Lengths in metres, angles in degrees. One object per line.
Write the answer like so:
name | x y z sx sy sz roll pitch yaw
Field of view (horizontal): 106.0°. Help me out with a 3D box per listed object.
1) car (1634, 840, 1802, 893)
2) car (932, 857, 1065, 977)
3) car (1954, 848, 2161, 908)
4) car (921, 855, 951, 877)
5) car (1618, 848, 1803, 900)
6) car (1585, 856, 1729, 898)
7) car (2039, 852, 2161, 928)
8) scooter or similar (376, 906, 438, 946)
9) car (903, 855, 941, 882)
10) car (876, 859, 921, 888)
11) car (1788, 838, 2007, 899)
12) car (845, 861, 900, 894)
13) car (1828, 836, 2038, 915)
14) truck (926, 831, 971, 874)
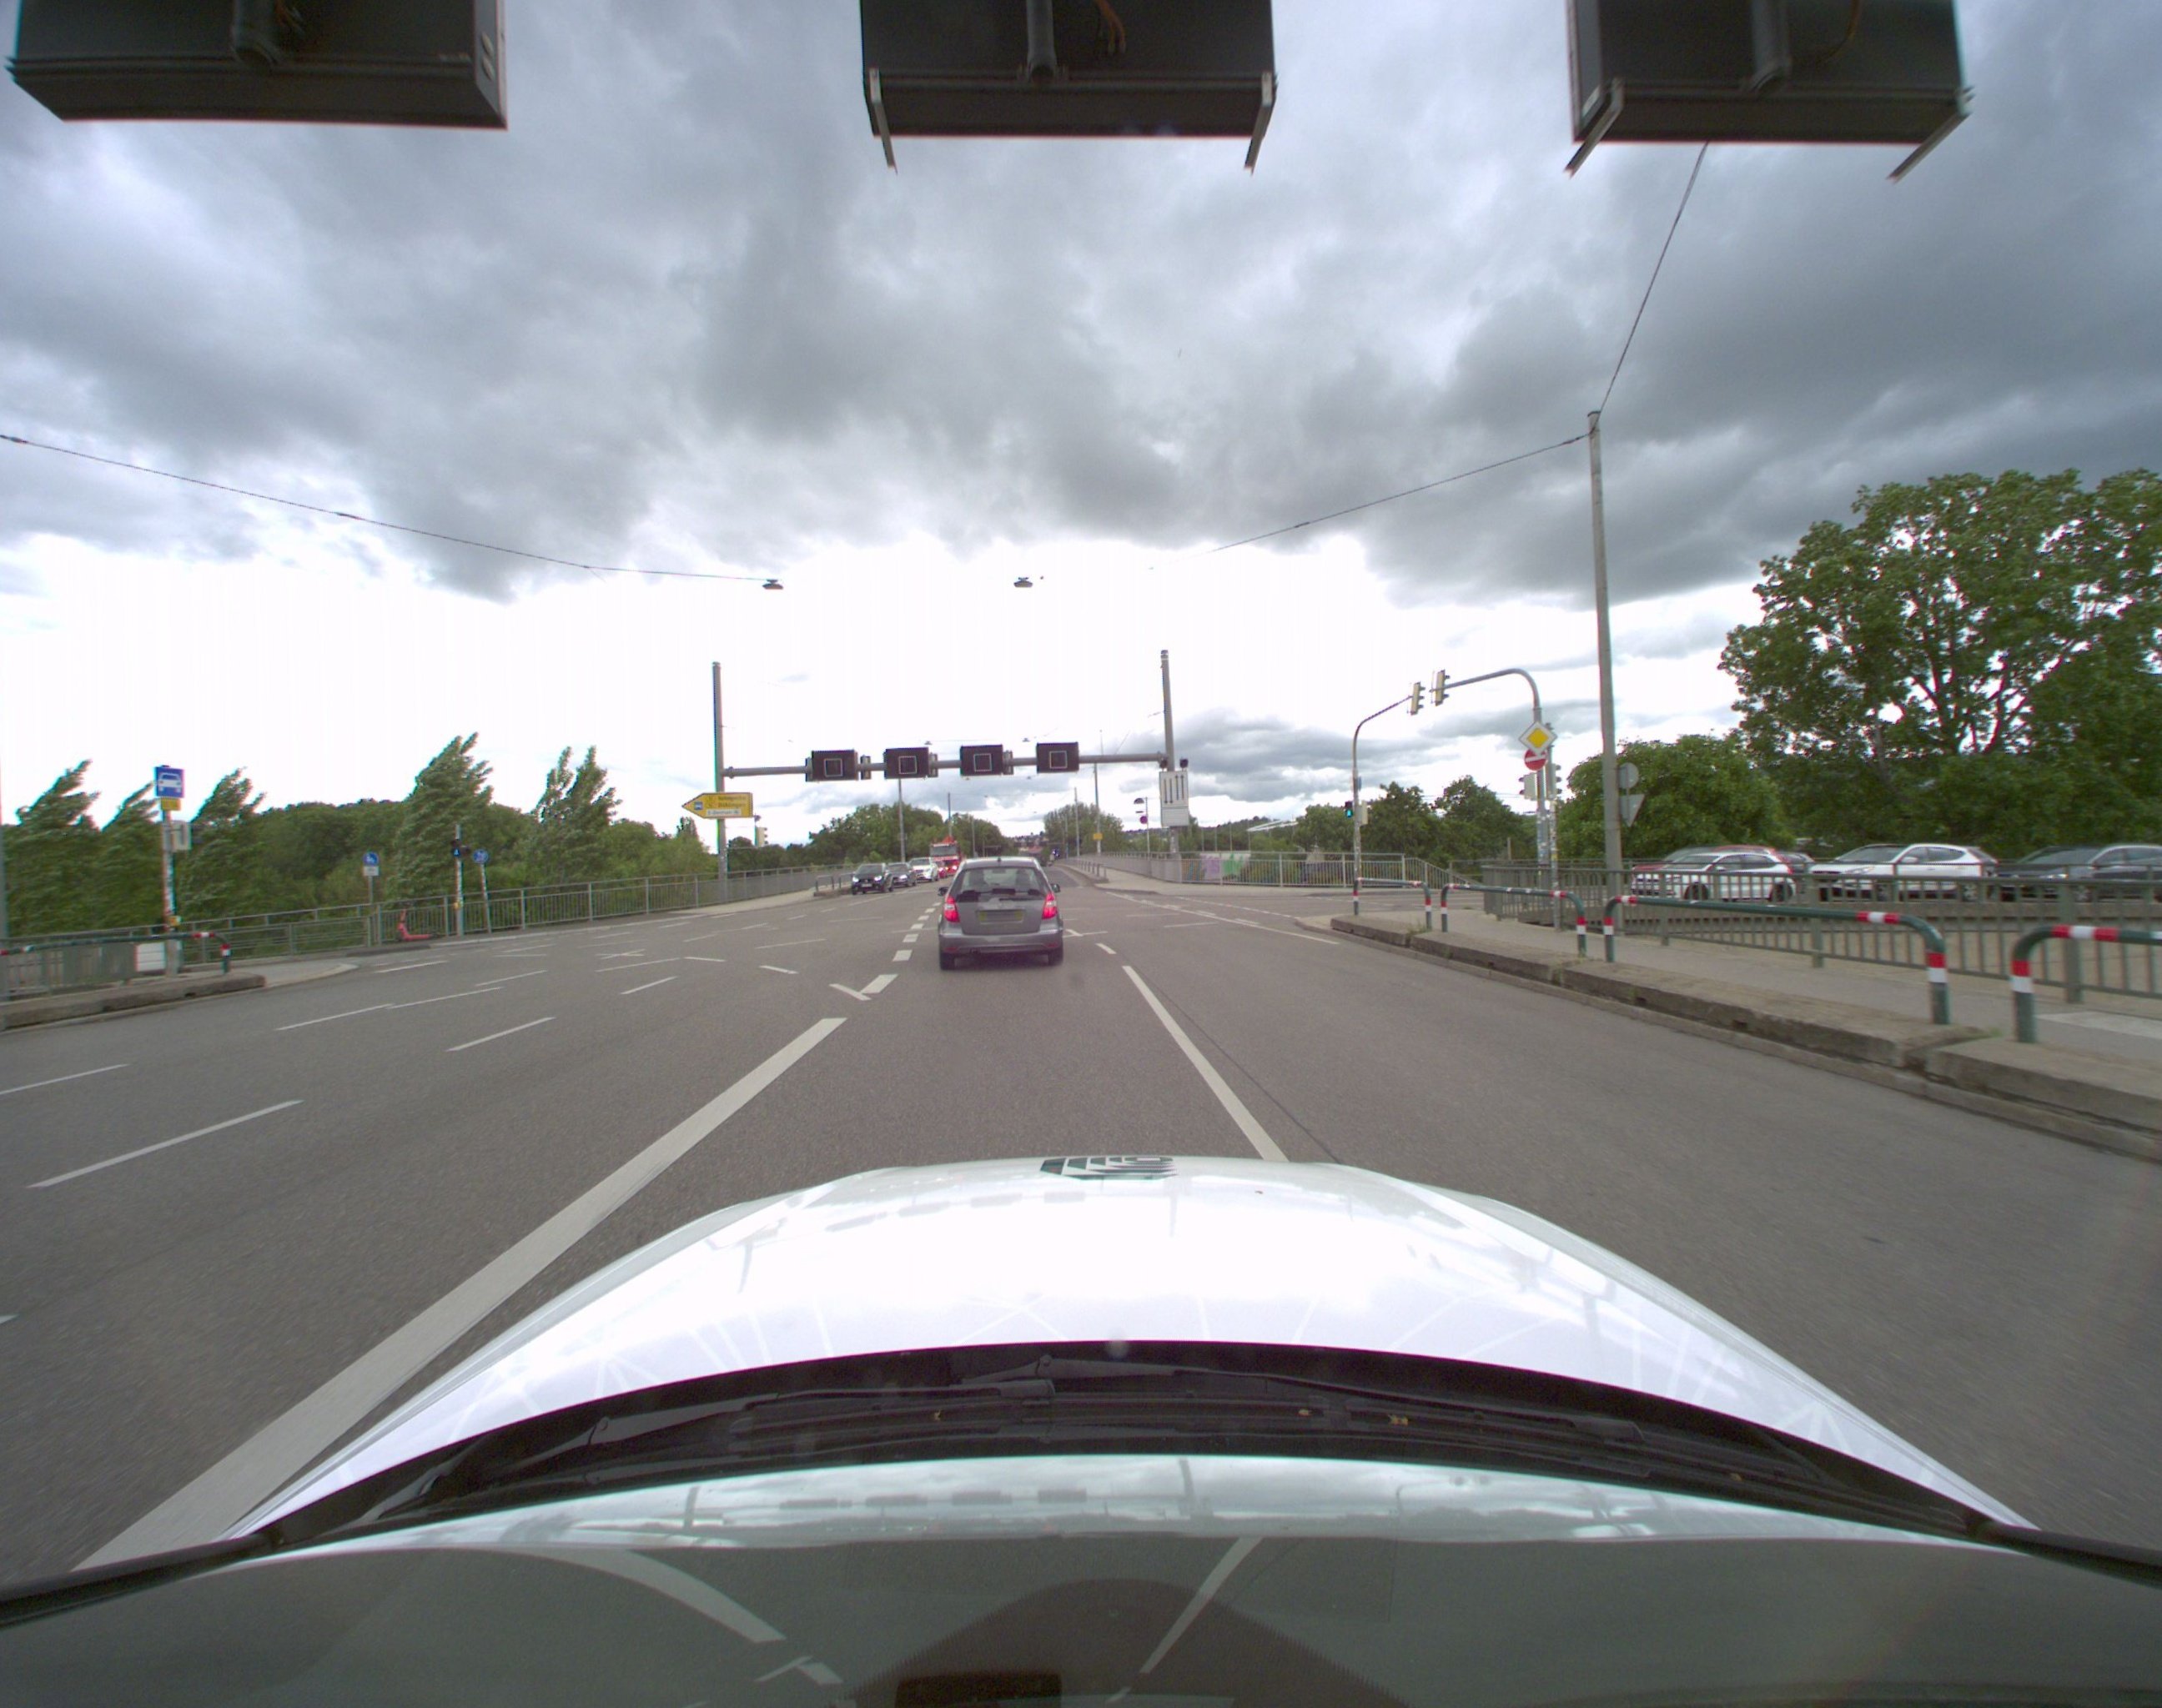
car | 19.416 0.391 24.916 3.989 1.540 1.692 0 -2 -6
car | -1.222 0.846 12.878 1.742 1.550 3.866 -2 0 -4
car | 28.423 0.680 23.349 4.937 1.619 1.997 0 -2 -5
car | -11.646 0.940 65.632 1.876 1.602 4.010 -3 0 -4
car | 16.891 0.533 21.952 3.747 1.313 1.787 0 -2 -6
car | 20.624 0.813 29.226 4.134 1.421 1.692 0 -2 -6
car | 35.172 1.135 26.963 4.523 2.013 2.209 -5 0 -5
scooter or similar | -20.790 2.217 25.149 1.332 1.056 0.483 -5 0 -11
car | -11.119 0.973 57.219 1.876 1.761 4.796 -3 0 -3
car | -10.883 1.138 48.934 1.832 1.504 4.511 -3 0 -3
car | 22.754 0.406 22.812 4.320 1.619 1.997 0 -2 -4
car | -10.827 1.176 42.574 1.830 1.504 3.869 -3 0 -1
car | 26.980 0.635 25.901 4.523 2.013 2.209 -5 0 -5
truck | -12.305 -0.151 76.418 2.999 3.565 9.969 -3 0 -3
